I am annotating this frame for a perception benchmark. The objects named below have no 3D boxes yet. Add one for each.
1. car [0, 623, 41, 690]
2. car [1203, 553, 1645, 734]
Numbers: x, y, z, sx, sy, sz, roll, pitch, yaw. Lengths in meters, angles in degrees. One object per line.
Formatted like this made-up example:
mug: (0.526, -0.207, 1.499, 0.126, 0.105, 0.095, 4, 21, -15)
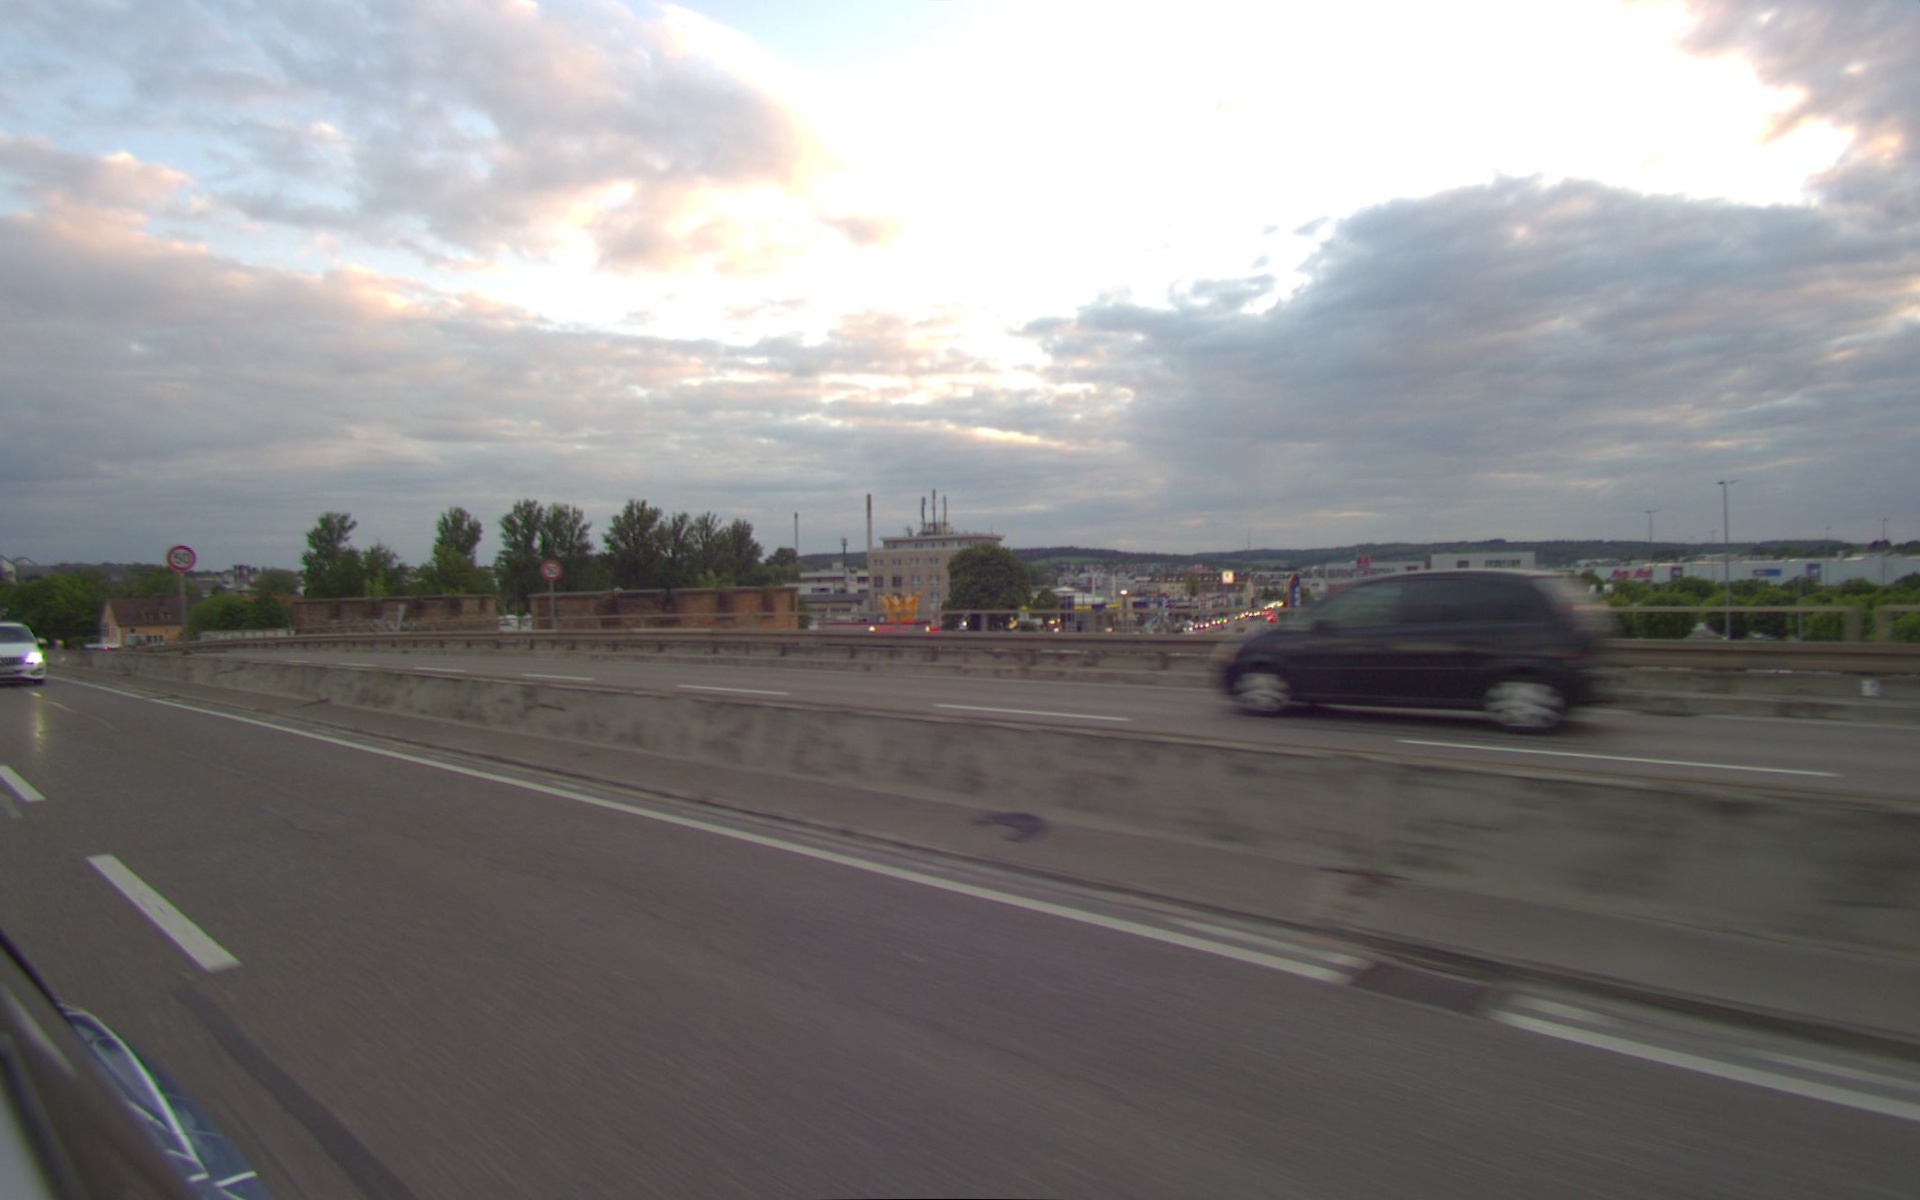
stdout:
car: (-24.419, 1.416, 25.342, 4.783, 1.548, 1.672, -2, -1, 43)
car: (4.852, 0.397, 10.923, 4.041, 1.606, 1.639, -1, 0, 41)
